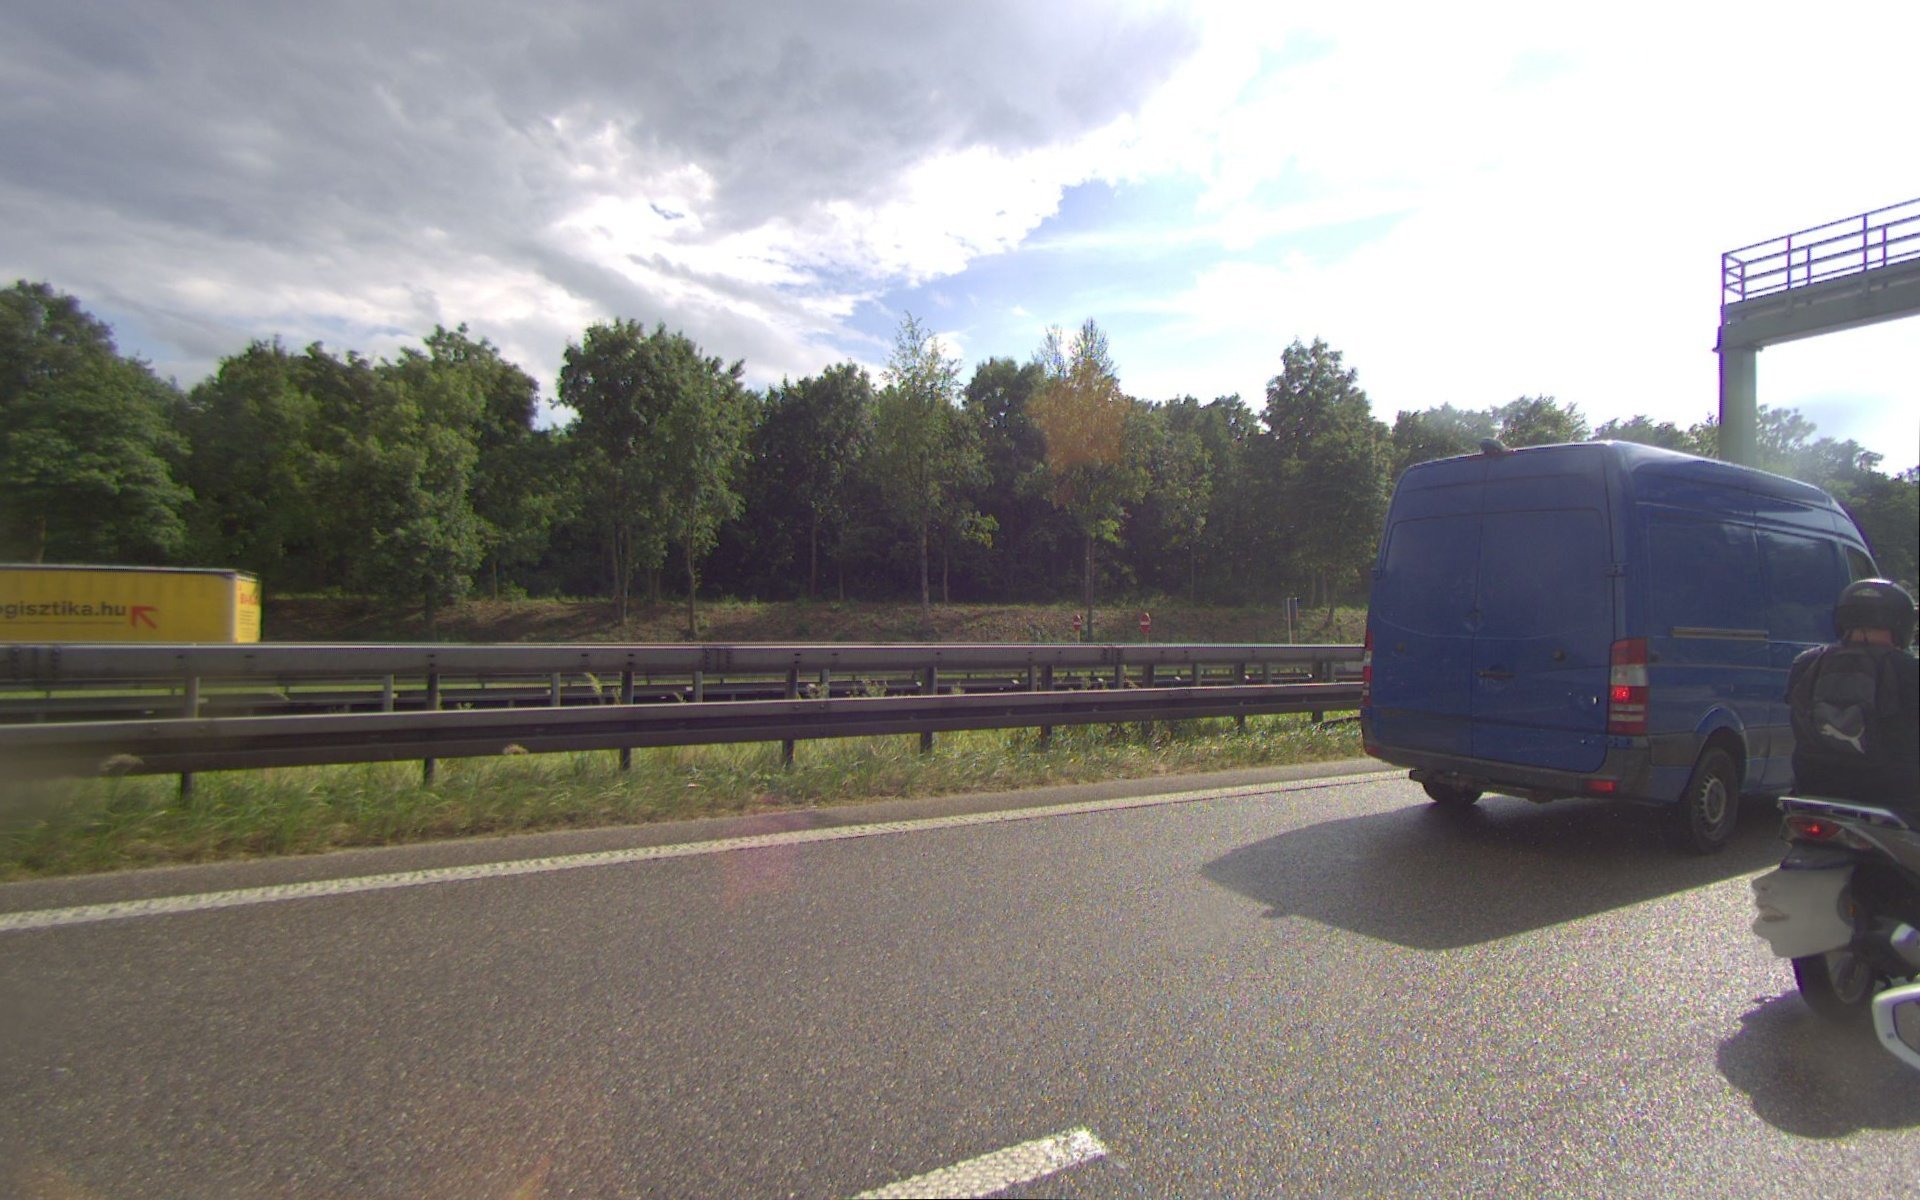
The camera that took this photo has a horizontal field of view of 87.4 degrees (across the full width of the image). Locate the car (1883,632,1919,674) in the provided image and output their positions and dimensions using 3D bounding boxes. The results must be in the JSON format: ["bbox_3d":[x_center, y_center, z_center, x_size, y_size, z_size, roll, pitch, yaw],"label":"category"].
[{"bbox_3d":[47.866,2.618,49.750,4.344,1.991,1.984,1,0,-31],"label":"car"}]

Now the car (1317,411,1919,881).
[{"bbox_3d":[5.613,0.320,8.085,5.711,2.684,2.005,1,0,-31],"label":"car"}]

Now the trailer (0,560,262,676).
[{"bbox_3d":[-31.808,0.567,33.845,13.445,3.744,1.992,2,0,-19],"label":"trailer"}]

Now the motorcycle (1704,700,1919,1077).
[{"bbox_3d":[3.794,1.016,4.031,1.961,1.101,0.671,1,0,-34],"label":"motorcycle"}]

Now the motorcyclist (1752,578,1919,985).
[{"bbox_3d":[3.786,0.664,4.025,1.009,1.461,0.666,2,0,-34],"label":"motorcyclist"}]
